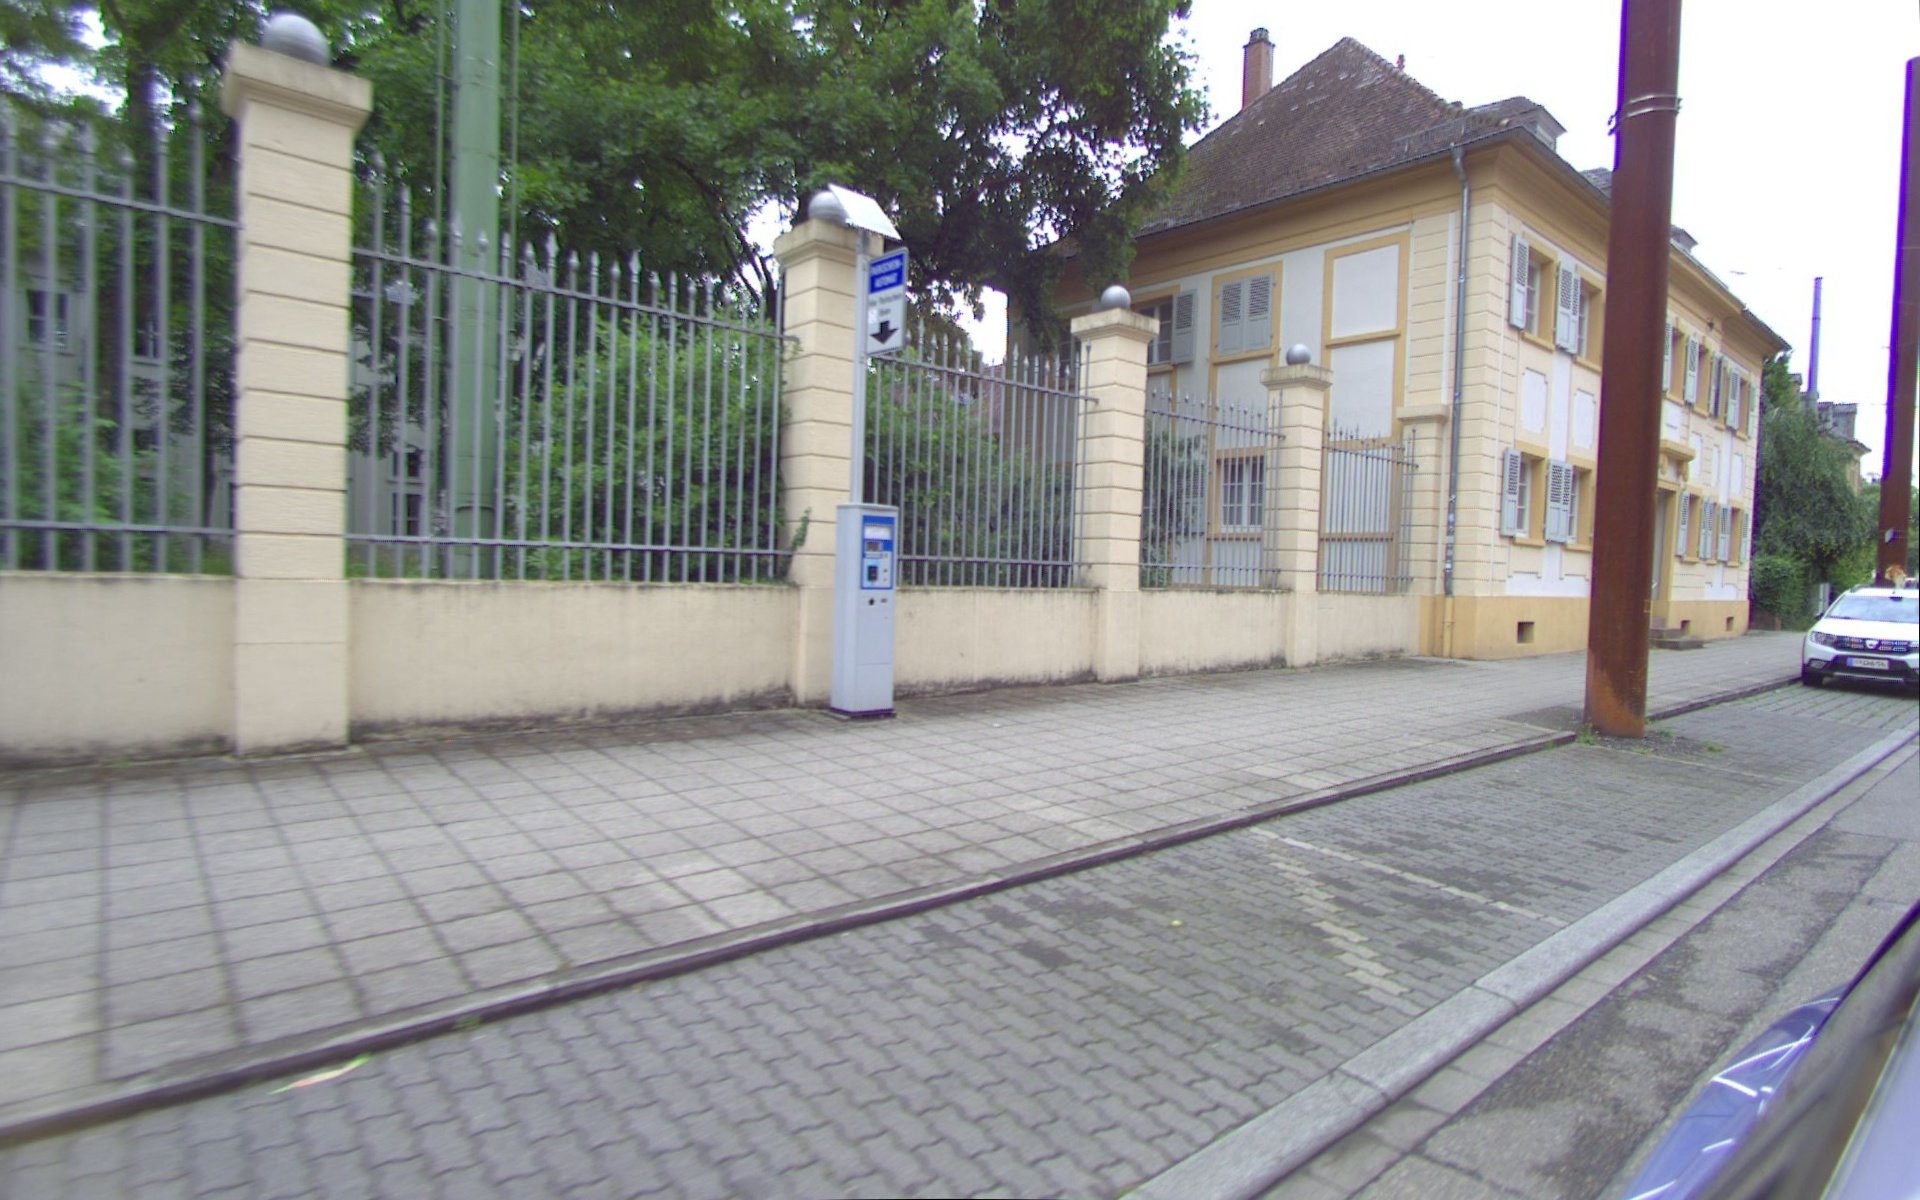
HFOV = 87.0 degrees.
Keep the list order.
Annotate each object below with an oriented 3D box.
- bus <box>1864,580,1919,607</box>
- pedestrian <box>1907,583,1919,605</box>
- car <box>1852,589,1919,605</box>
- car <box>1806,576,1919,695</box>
[{"bbox_3d":[117.909,-0.858,126.223,2.826,3.115,11.957,1,2,17],"label":"bus"},{"bbox_3d":[89.688,-0.558,95.010,0.773,1.967,0.973,2,2,26],"label":"pedestrian"},{"bbox_3d":[92.323,-0.286,100.860,1.959,1.437,4.670,1,2,-28],"label":"car"},{"bbox_3d":[14.781,0.506,15.795,3.862,1.593,1.759,0,5,-41],"label":"car"}]
